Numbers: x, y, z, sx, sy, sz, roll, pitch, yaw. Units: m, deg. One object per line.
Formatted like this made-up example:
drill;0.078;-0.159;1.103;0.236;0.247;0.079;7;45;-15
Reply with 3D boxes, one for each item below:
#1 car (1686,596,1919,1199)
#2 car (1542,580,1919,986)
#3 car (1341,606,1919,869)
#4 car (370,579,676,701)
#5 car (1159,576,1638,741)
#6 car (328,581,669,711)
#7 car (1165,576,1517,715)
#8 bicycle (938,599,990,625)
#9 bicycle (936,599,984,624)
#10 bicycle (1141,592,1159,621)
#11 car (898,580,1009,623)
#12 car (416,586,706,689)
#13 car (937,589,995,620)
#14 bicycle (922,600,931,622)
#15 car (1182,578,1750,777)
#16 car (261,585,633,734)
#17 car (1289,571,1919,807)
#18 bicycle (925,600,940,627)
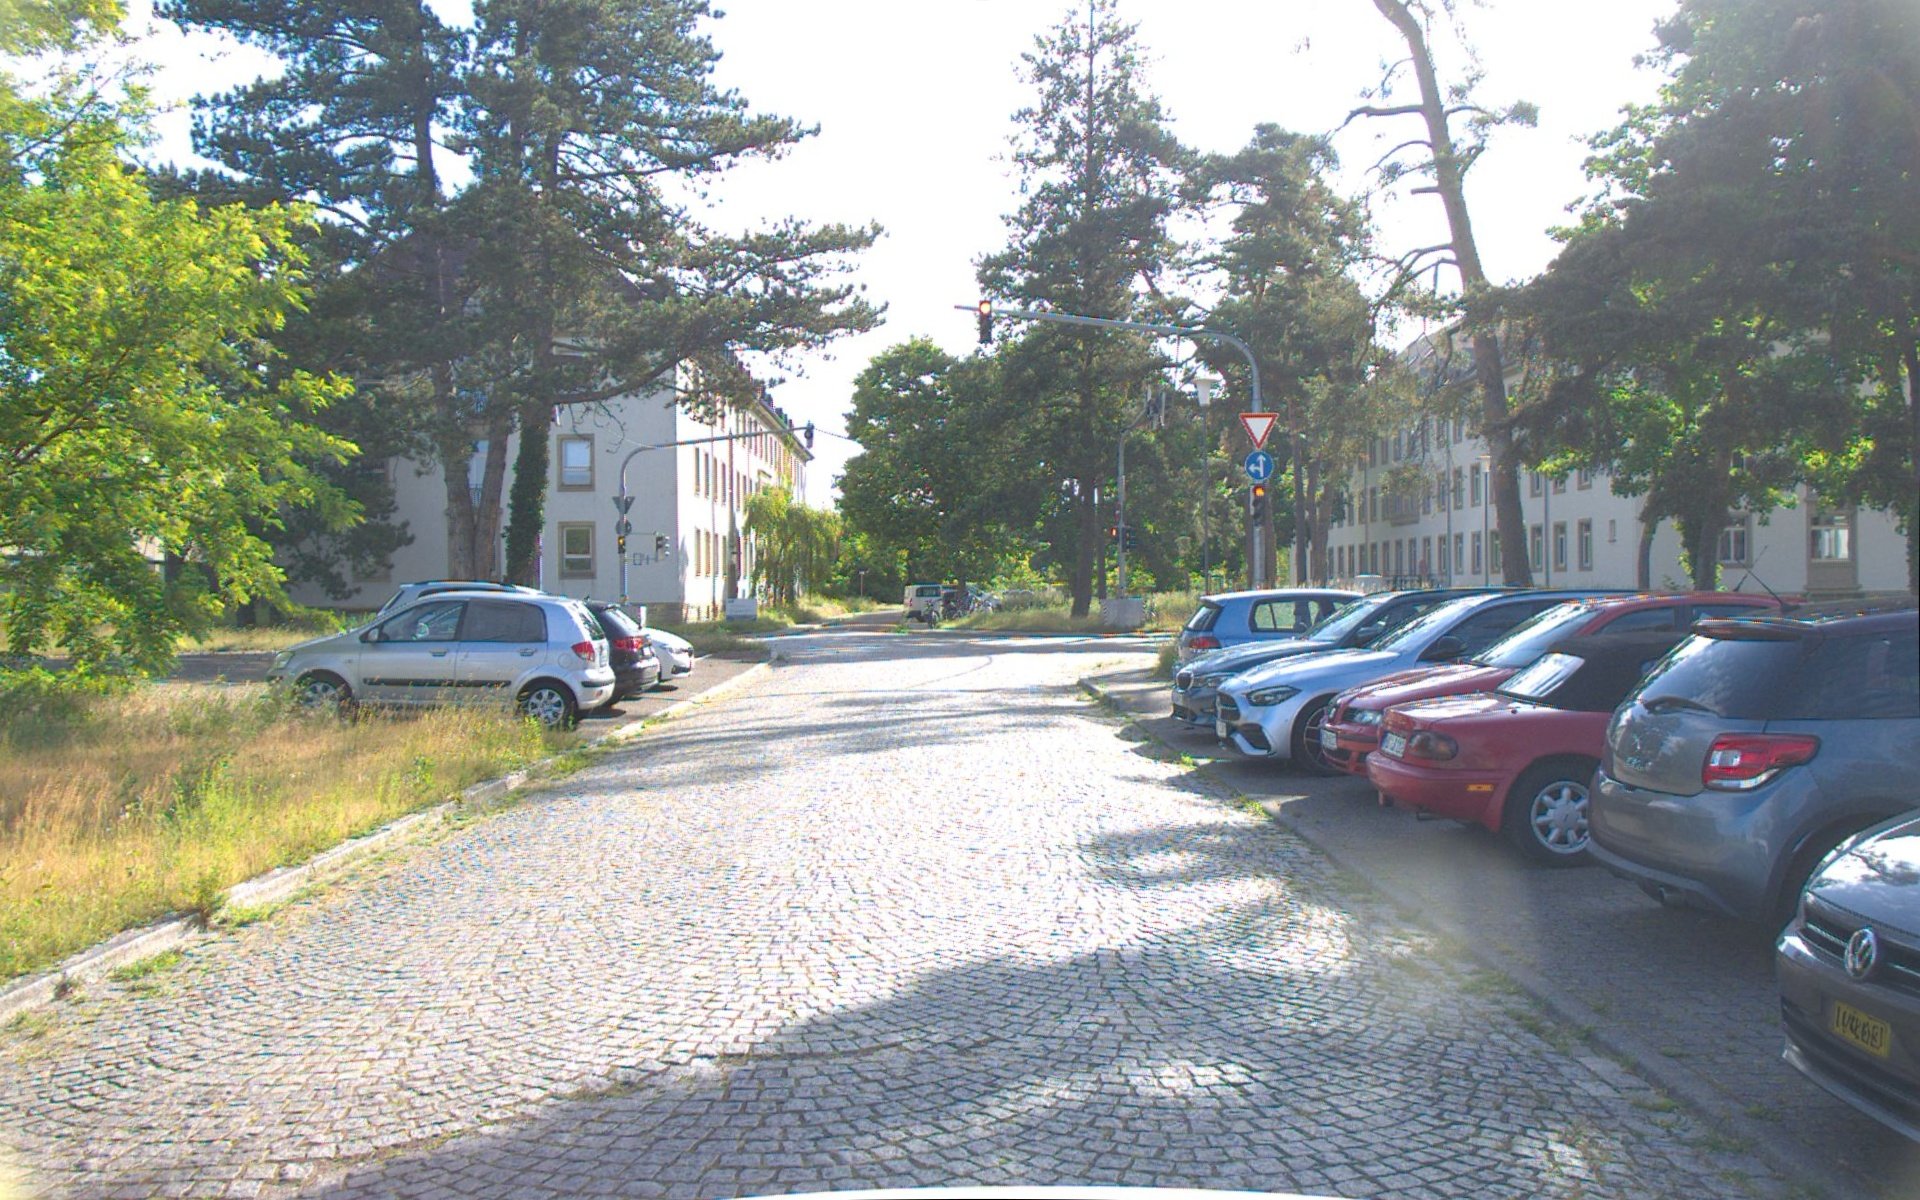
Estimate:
car;4.157;0.695;4.371;3.632;1.474;1.856;-2;1;0
car;4.708;0.651;7.249;3.632;1.474;1.816;-2;1;-1
car;4.300;0.747;9.844;3.632;1.244;1.746;-2;1;-1
car;-6.315;0.560;24.270;4.000;1.621;1.884;1;1;-4
car;4.400;0.560;17.043;4.467;1.440;1.636;-2;1;-1
car;-5.843;0.559;21.318;3.908;1.506;1.802;1;1;-4
car;4.485;0.513;19.824;3.803;1.440;1.636;-2;1;-1
bicycle;0.165;0.494;68.754;2.070;1.028;0.620;1;-1;-9
bicycle;-0.007;0.497;70.327;1.967;1.028;0.631;1;-1;-9
bicycle;6.508;0.222;56.635;0.294;0.977;1.584;1;0;-4
car;-0.334;0.089;86.667;5.438;2.049;1.989;2;0;-19
car;-6.343;0.584;26.665;4.248;1.494;1.829;1;1;-4
car;0.275;0.215;83.094;2.728;1.492;1.669;1;0;-6
bicycle;-1.584;0.518;78.239;0.409;1.028;1.483;1;0;0
car;4.236;0.615;14.325;4.342;1.440;1.781;-2;1;-1
car;-5.679;0.640;18.657;3.672;1.513;1.644;1;1;-4
car;4.643;0.602;12.248;4.043;1.474;1.636;-2;1;-1
bicycle;-1.074;0.531;65.029;0.458;1.028;1.584;1;0;-4
